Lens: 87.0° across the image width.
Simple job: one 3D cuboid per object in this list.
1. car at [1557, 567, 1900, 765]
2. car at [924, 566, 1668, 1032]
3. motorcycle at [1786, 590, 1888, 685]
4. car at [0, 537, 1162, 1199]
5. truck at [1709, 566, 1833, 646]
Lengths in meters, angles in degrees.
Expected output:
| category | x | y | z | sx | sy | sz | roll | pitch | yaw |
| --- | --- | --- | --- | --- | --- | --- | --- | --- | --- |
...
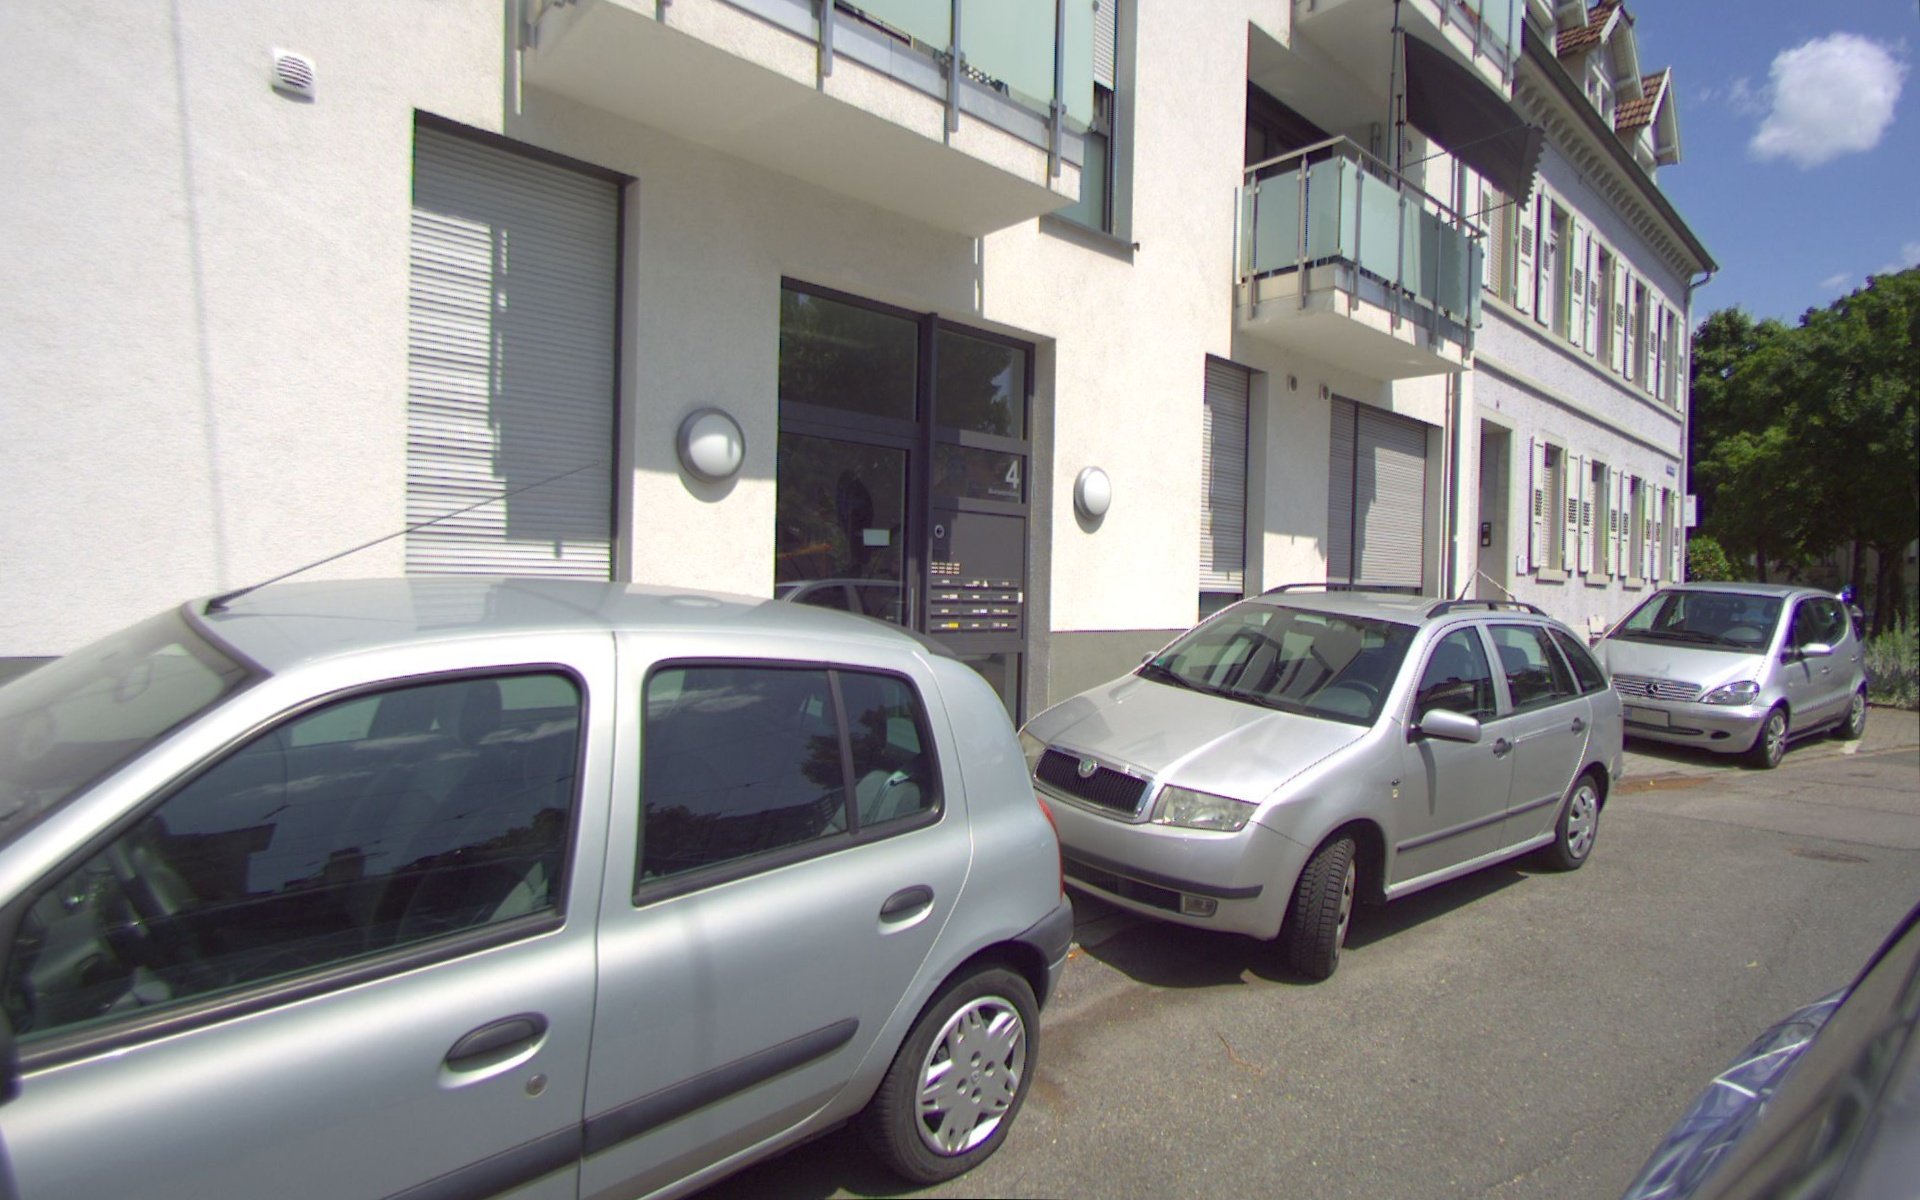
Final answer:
| category | x | y | z | sx | sy | sz | roll | pitch | yaw |
| --- | --- | --- | --- | --- | --- | --- | --- | --- | --- |
| car | 7.920 | 0.508 | 10.351 | 3.729 | 1.630 | 1.733 | -1 | 4 | -36 |
| car | 1.939 | 0.623 | 5.249 | 3.970 | 1.450 | 1.732 | 0 | 5 | -39 |
| motorcycle | 13.649 | 0.543 | 15.723 | 2.296 | 1.369 | 0.802 | 0 | 1 | -39 |
| car | -1.329 | 0.634 | 2.208 | 3.644 | 1.450 | 1.595 | -1 | 5 | -43 |
| truck | 22.074 | 0.139 | 27.763 | 1.901 | 1.950 | 5.222 | 3 | 1 | 31 |
